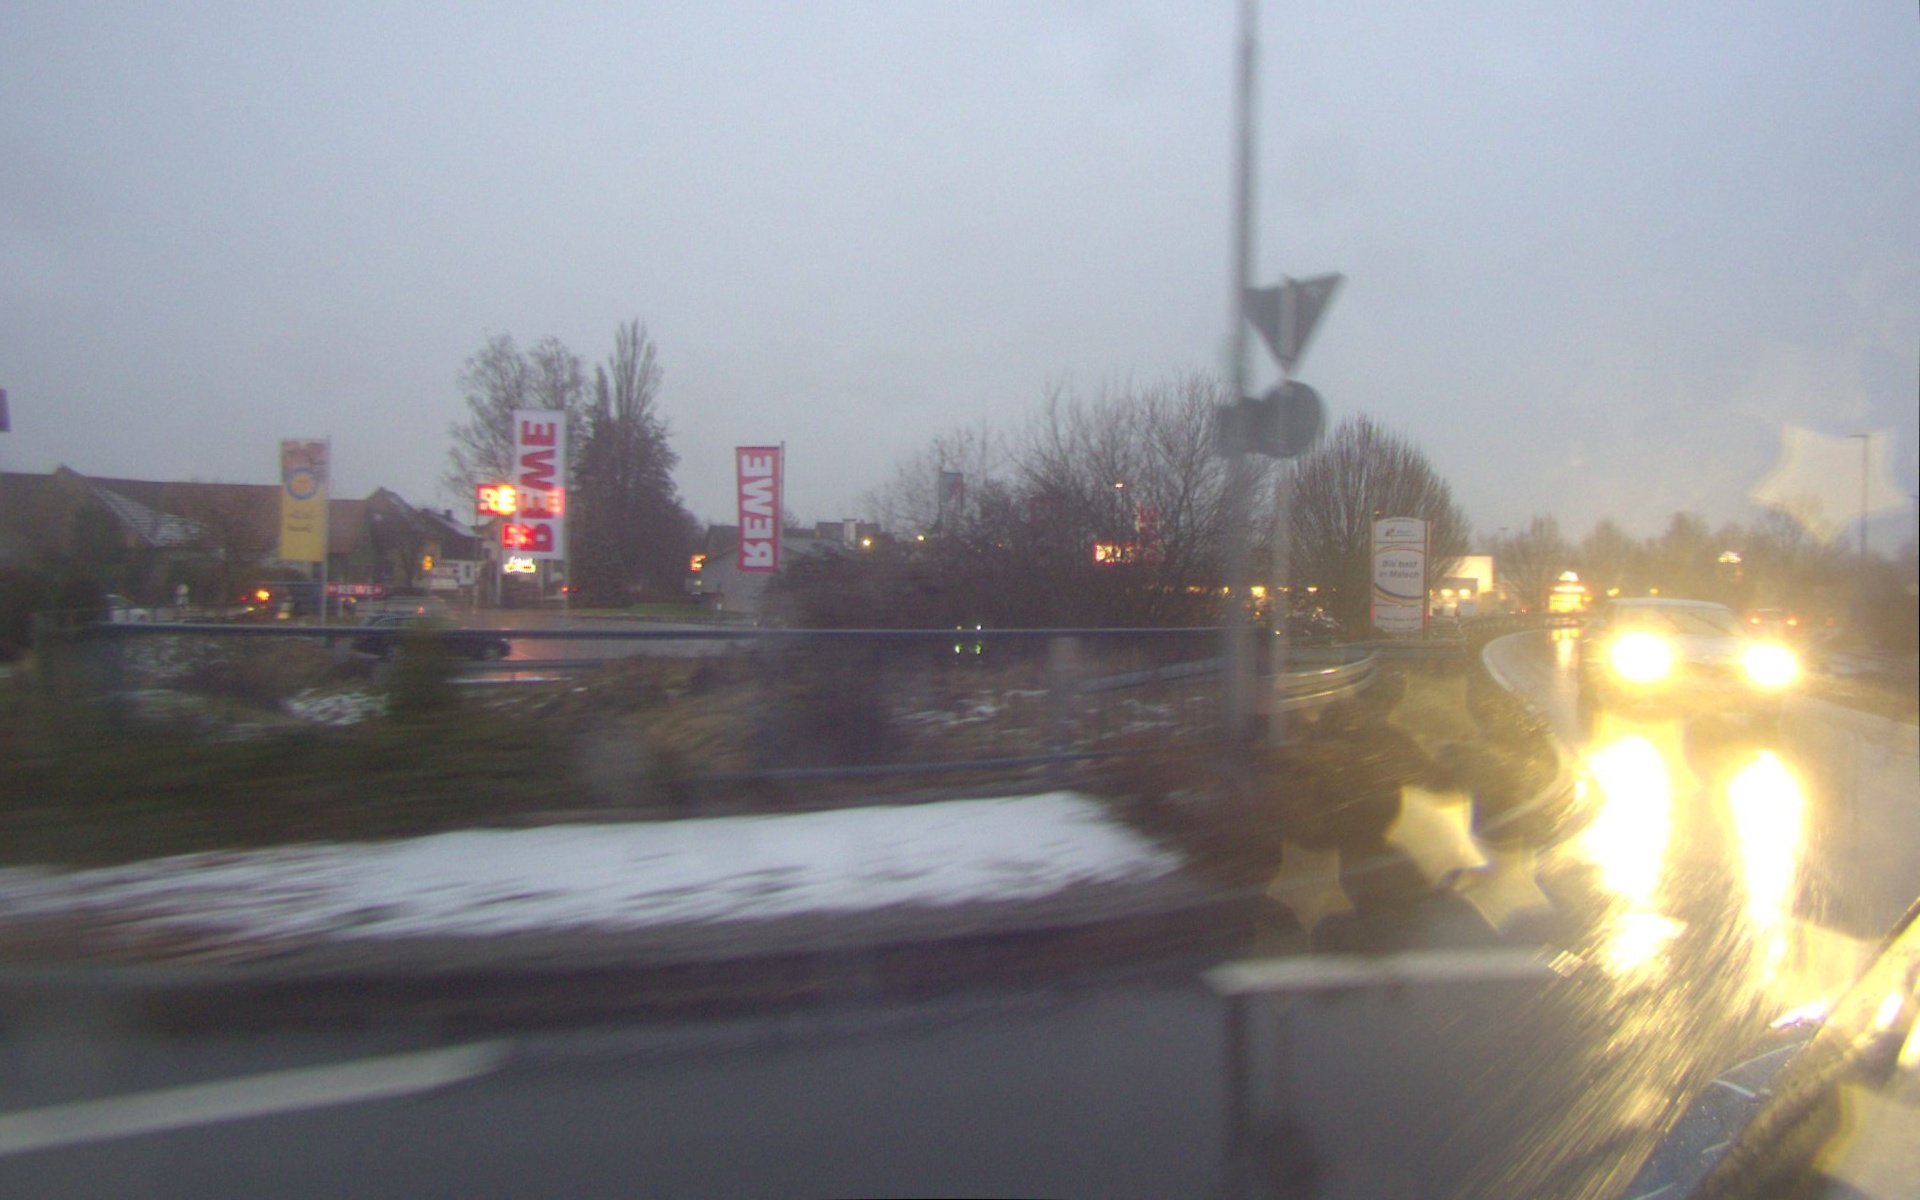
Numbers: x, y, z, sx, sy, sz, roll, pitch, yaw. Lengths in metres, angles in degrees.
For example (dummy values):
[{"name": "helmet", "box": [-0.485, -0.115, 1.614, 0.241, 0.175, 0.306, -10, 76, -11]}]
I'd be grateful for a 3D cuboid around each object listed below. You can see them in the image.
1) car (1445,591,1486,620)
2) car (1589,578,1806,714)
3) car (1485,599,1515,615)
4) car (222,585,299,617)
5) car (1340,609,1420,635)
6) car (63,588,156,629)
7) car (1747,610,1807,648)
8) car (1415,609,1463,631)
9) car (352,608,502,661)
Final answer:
[{"name": "car", "box": [48.122, 0.513, 96.475, 2.246, 2.469, 5.222, 2, 2, 12]}, {"name": "car", "box": [9.986, 0.496, 14.038, 1.794, 1.479, 4.207, 0, 2, 27]}, {"name": "car", "box": [53.451, 0.693, 100.267, 1.691, 1.429, 3.995, 2, 2, 16]}, {"name": "car", "box": [-35.526, 0.036, 51.490, 1.878, 1.511, 3.718, -2, 1, -12]}, {"name": "car", "box": [28.392, 1.470, 68.565, 4.631, 1.414, 1.898, 2, 2, 12]}, {"name": "car", "box": [-33.573, 0.305, 40.058, 1.724, 1.511, 3.859, -2, 1, -23]}, {"name": "car", "box": [36.349, 1.242, 45.073, 1.600, 1.487, 3.643, 2, 2, 32]}, {"name": "car", "box": [35.330, 1.438, 74.624, 3.744, 1.446, 1.772, -1, 3, -40]}, {"name": "car", "box": [-16.548, 1.015, 31.508, 3.881, 1.420, 1.610, -1, 1, -39]}]
